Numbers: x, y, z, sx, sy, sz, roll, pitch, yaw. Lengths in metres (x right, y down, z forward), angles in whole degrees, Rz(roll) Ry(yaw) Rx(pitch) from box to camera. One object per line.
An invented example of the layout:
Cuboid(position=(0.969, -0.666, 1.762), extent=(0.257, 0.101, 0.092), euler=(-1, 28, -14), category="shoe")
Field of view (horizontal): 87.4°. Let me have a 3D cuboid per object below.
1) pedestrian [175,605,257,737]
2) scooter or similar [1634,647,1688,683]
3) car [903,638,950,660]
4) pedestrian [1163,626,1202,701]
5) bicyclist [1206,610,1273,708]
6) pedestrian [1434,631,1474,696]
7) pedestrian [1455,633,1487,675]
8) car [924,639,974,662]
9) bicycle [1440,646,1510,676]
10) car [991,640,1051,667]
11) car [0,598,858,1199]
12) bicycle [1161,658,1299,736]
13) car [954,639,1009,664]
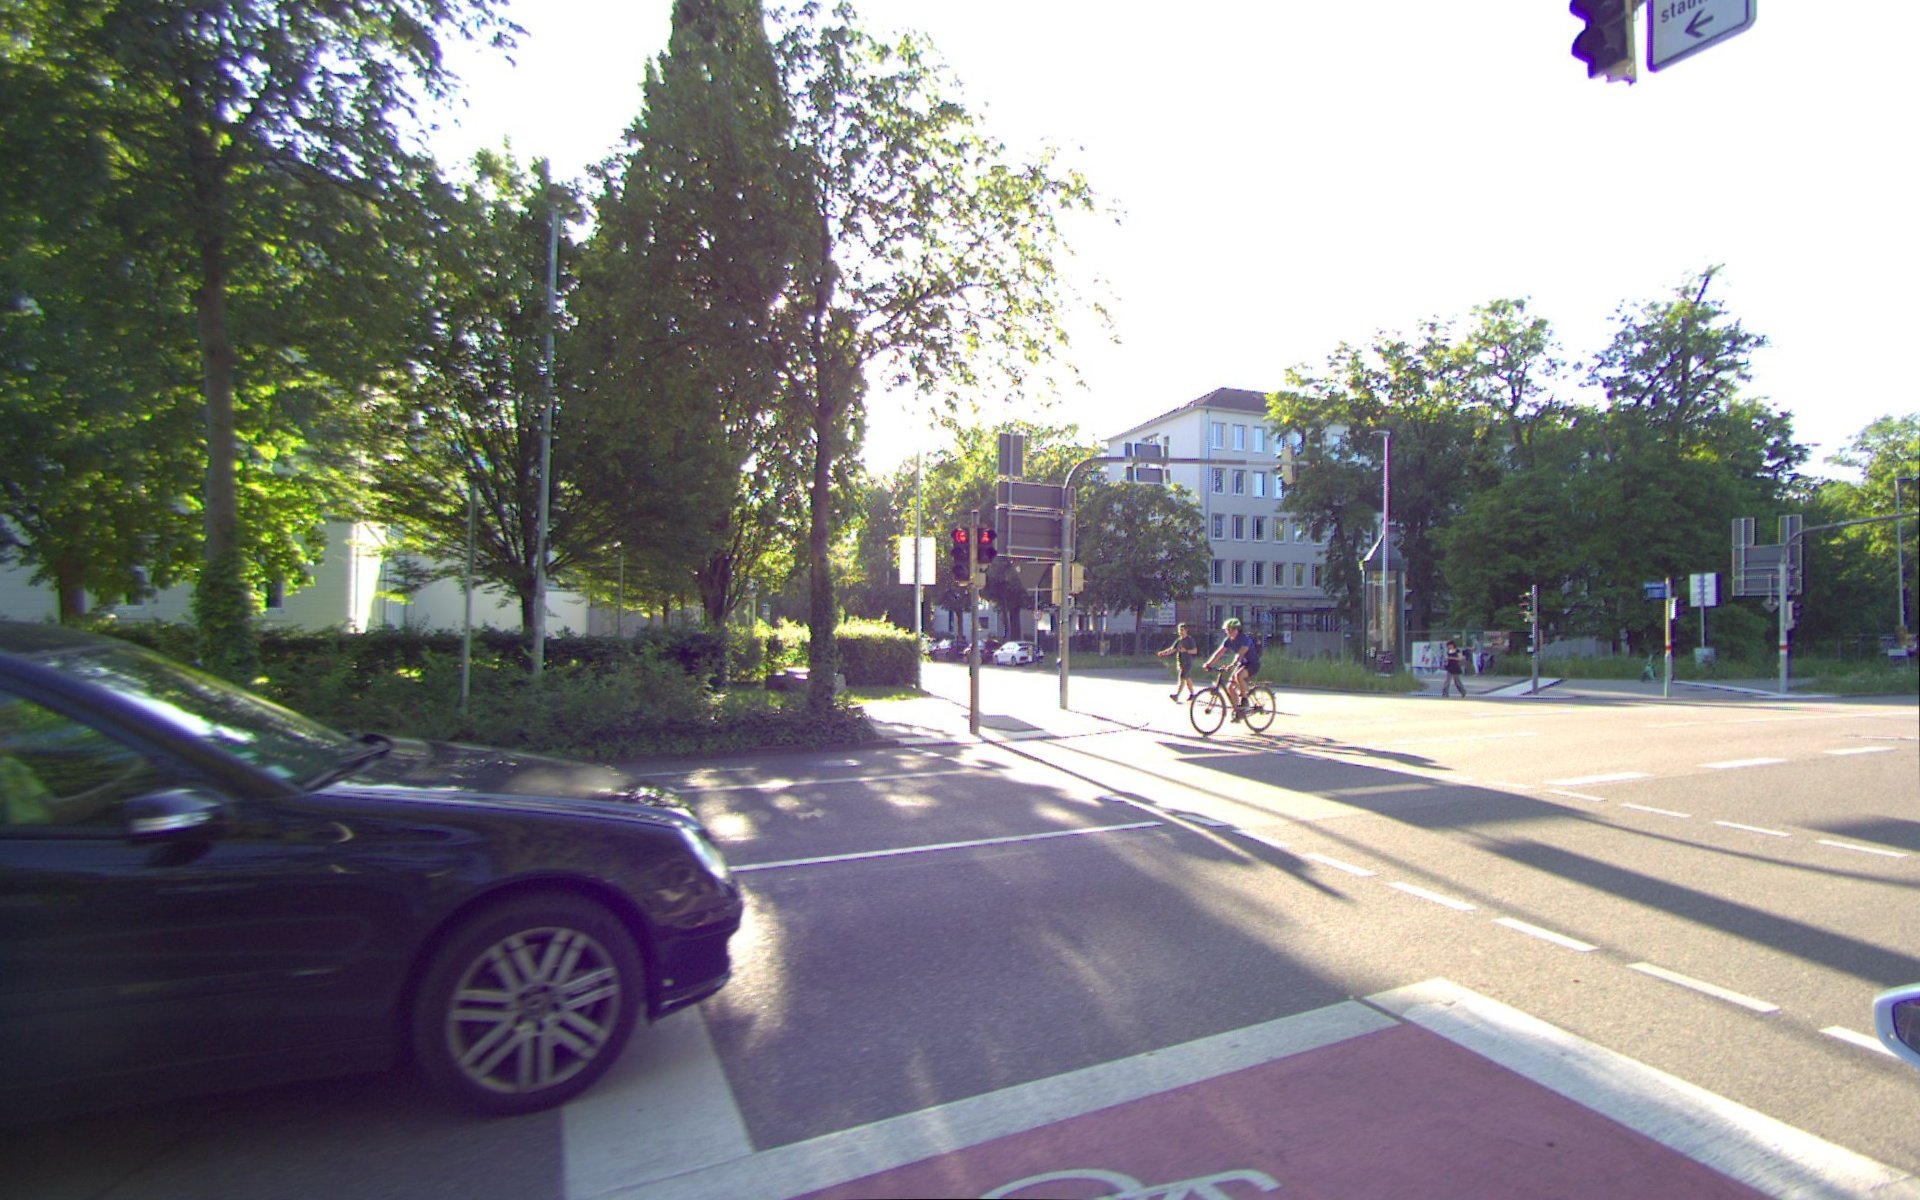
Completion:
Cuboid(position=(-9.924, 0.929, 13.425), extent=(0.670, 1.703, 0.689), euler=(1, -2, -20), category="pedestrian")
Cuboid(position=(25.860, 2.402, 37.061), extent=(1.466, 1.311, 0.696), euler=(0, -2, 0), category="scooter or similar")
Cuboid(position=(-2.519, 3.630, 74.498), extent=(2.204, 1.559, 4.239), euler=(1, -2, -21), category="car")
Cuboid(position=(5.509, 1.564, 24.872), extent=(0.670, 1.840, 0.689), euler=(1, -2, -20), category="pedestrian")
Cuboid(position=(4.388, 0.916, 15.765), extent=(0.748, 1.485, 0.694), euler=(1, -2, -25), category="bicyclist")
Cuboid(position=(14.141, 1.799, 28.757), extent=(0.715, 1.840, 0.742), euler=(1, -2, -20), category="pedestrian")
Cuboid(position=(20.918, 2.205, 41.114), extent=(0.634, 1.718, 0.974), euler=(1, -2, -24), category="pedestrian")
Cuboid(position=(-0.794, 3.507, 69.788), extent=(2.204, 1.559, 4.239), euler=(1, -2, -21), category="car")
Cuboid(position=(21.234, 2.506, 41.493), extent=(0.966, 1.150, 2.564), euler=(1, -2, -24), category="bicycle")
Cuboid(position=(3.578, 3.182, 60.064), extent=(2.038, 1.559, 4.239), euler=(1, -2, -21), category="car")
Cuboid(position=(-2.705, 0.725, 2.946), extent=(4.473, 1.437, 1.710), euler=(2, 0, -30), category="car")
Cuboid(position=(4.209, 1.483, 15.640), extent=(2.160, 1.131, 0.694), euler=(1, -2, -26), category="bicycle")
Cuboid(position=(1.342, 3.334, 65.159), extent=(2.204, 1.559, 4.239), euler=(1, -2, -21), category="car")
